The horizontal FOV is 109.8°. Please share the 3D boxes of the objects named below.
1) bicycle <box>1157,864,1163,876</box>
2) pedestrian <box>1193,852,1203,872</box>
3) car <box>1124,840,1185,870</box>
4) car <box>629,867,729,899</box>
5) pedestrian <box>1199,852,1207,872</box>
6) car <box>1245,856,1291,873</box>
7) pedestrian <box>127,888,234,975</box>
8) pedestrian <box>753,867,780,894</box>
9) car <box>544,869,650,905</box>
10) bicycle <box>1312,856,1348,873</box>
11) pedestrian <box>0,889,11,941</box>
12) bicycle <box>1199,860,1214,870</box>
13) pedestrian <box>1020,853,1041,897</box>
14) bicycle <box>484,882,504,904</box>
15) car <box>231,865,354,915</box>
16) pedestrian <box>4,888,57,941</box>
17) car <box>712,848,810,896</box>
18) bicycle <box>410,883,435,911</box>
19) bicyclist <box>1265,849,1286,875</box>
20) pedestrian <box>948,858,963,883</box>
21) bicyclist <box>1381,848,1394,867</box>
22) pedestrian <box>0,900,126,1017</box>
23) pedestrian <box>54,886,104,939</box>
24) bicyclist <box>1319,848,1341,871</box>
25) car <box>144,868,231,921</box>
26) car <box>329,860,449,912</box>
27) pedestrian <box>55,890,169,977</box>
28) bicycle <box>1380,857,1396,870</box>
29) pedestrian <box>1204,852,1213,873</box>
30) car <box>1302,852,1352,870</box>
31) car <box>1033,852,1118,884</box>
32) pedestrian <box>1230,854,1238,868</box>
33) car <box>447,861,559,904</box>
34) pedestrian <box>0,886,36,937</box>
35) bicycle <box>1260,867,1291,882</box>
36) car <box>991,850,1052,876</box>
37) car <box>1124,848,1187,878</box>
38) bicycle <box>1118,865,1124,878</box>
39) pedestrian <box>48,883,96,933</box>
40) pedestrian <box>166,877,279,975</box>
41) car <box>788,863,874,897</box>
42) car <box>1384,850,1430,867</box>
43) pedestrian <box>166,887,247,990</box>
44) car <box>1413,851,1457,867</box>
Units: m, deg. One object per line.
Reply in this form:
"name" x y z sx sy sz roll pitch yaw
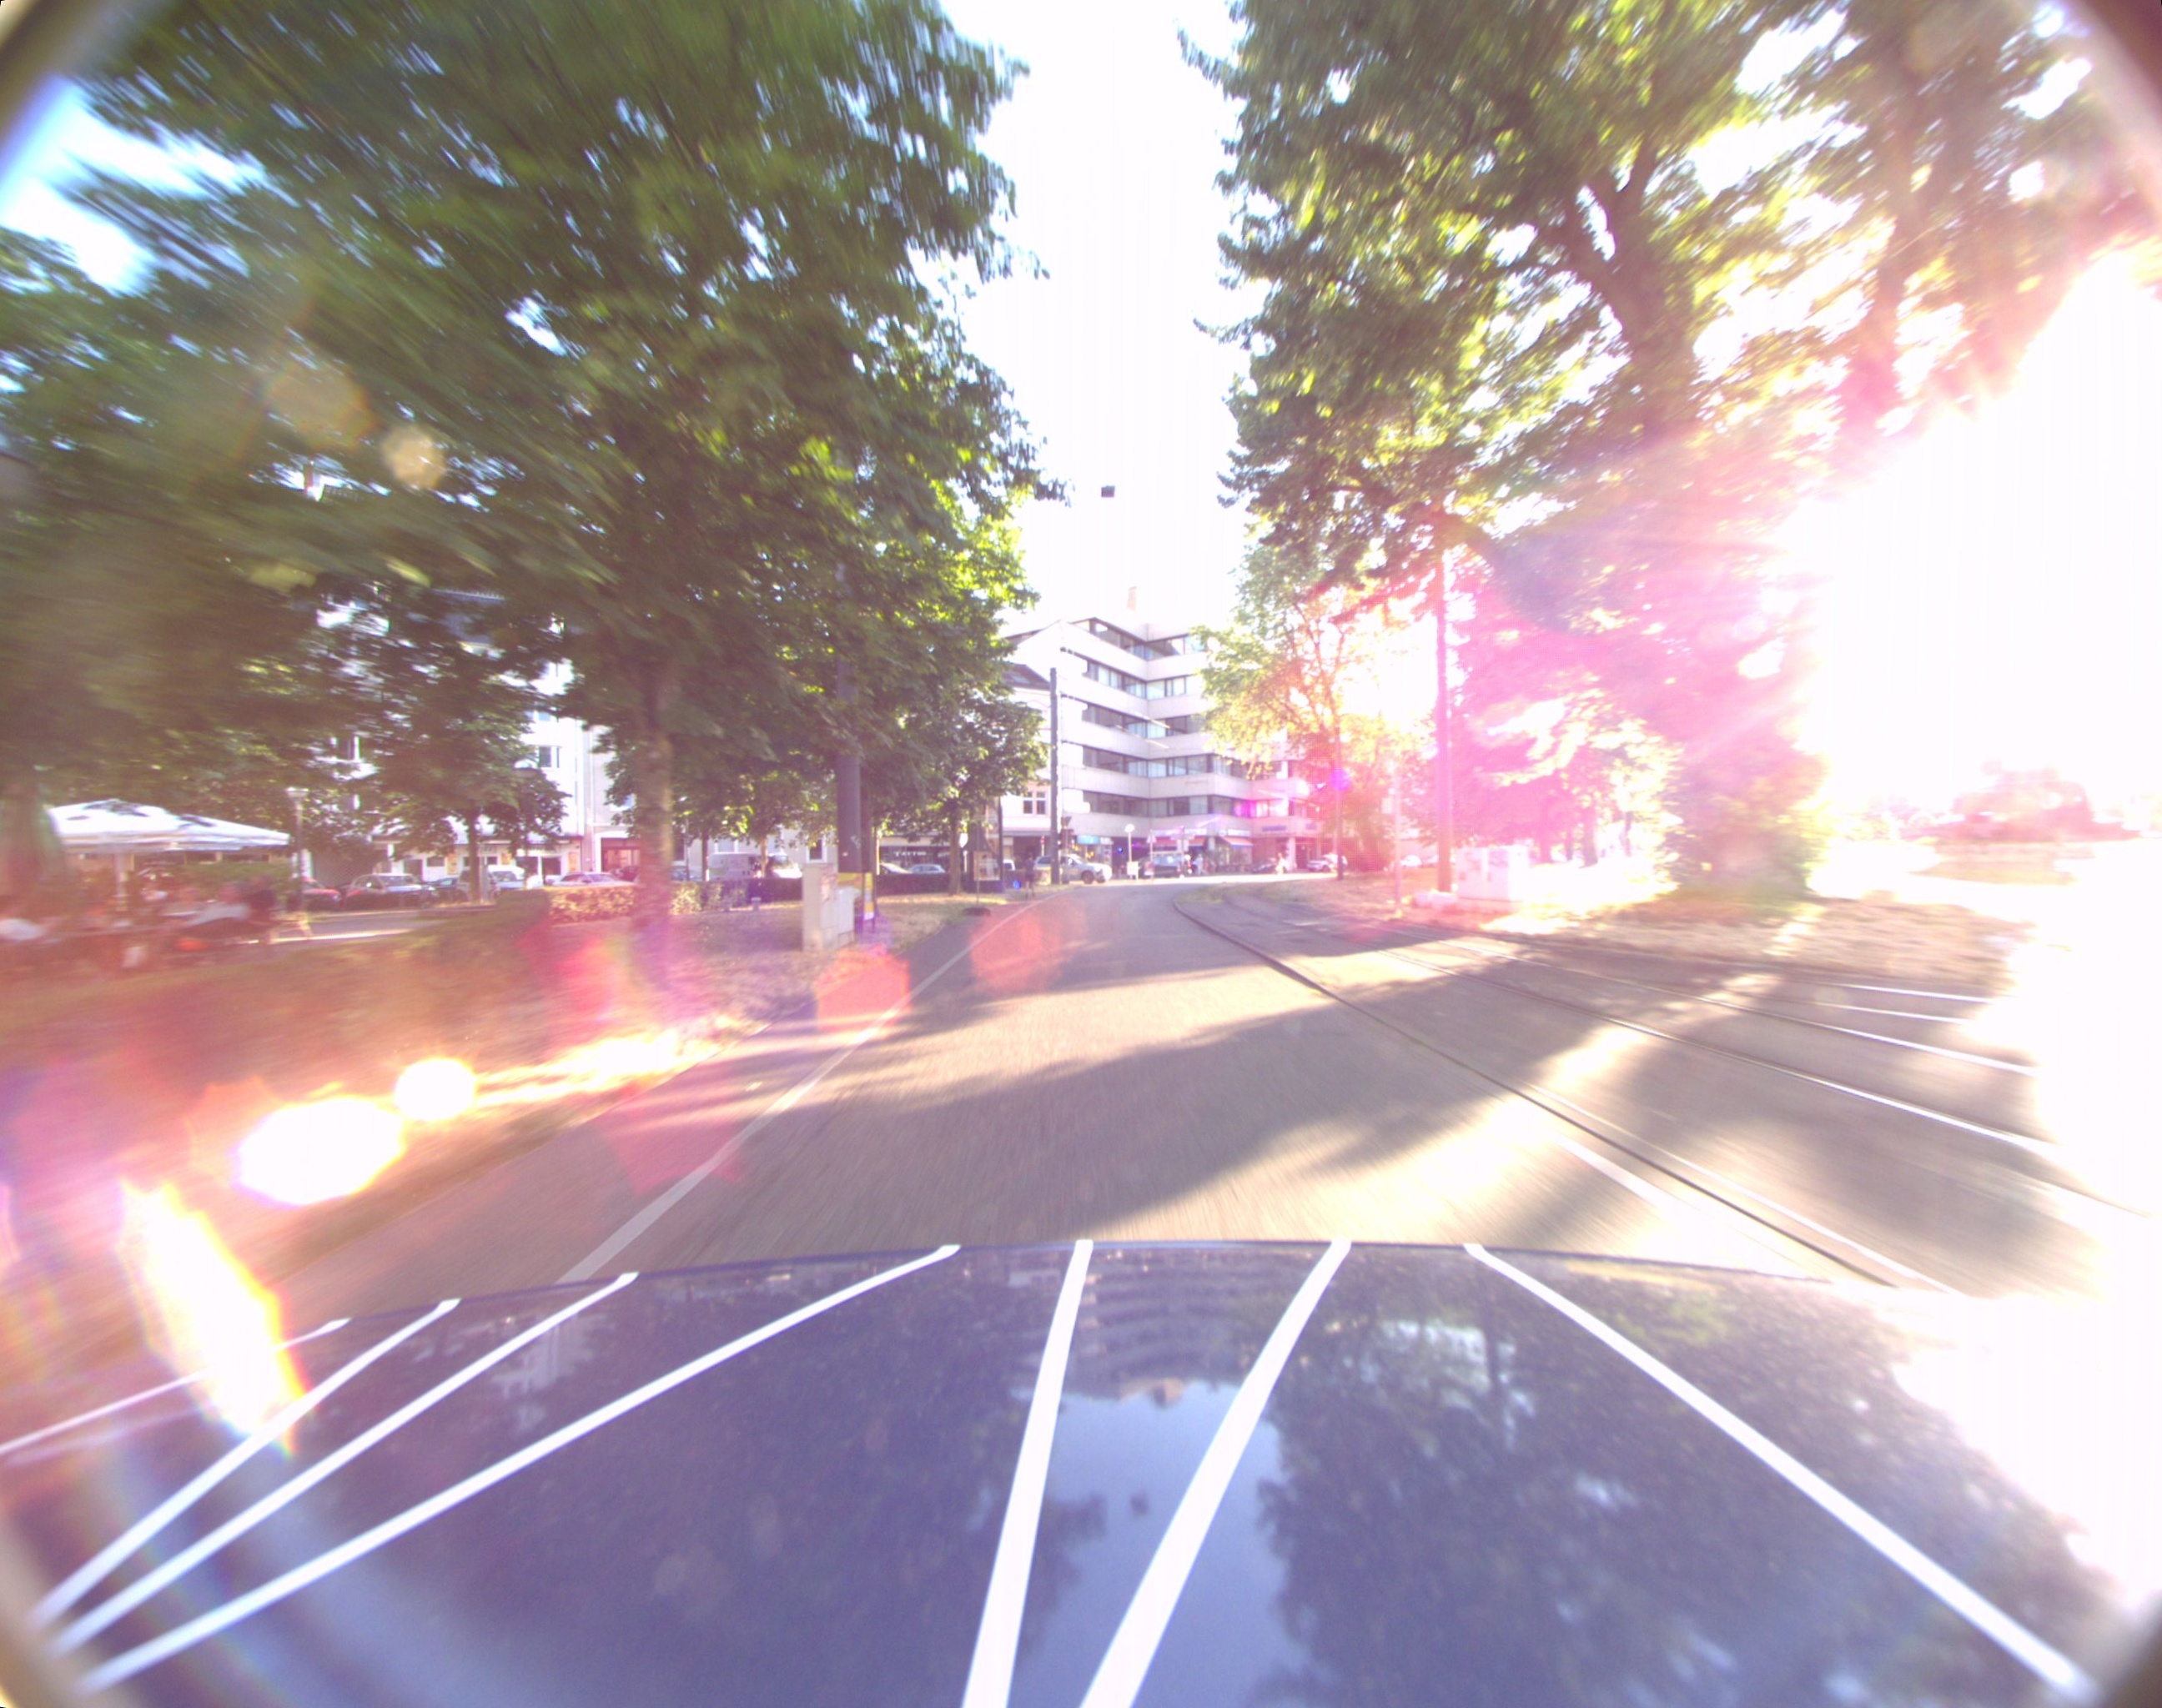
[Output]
"bicycle" 6.742 1.329 64.816 0.302 0.987 1.294 -2 0 -4
"pedestrian" 10.711 0.724 69.742 0.537 1.828 0.619 1 3 -24
"car" 6.984 0.063 72.553 5.419 2.711 2.186 0 1 33
"car" -19.456 1.391 36.818 3.992 1.390 2.003 -2 0 18
"pedestrian" 11.130 0.717 69.145 0.603 1.828 0.574 3 3 4
"car" 17.396 0.959 70.626 4.006 1.433 1.791 -2 0 -29
"pedestrian" -14.101 1.208 11.929 0.953 1.235 0.662 -4 -2 -42
"pedestrian" -14.493 1.213 35.002 0.962 1.218 1.368 -2 0 -28
"car" -22.143 1.490 34.805 3.992 1.477 2.003 -2 0 18
"bicycle" 21.986 0.901 66.971 3.246 1.353 1.269 -2 0 -34
"pedestrian" -23.482 1.326 16.258 0.494 1.111 0.556 -2 1 -35
"bicycle" 11.840 1.042 71.736 1.444 0.987 0.531 0 2 8
"pedestrian" -1.985 0.824 29.941 0.587 1.733 0.644 -1 0 24
"bicycle" -22.511 1.484 29.156 0.447 0.775 1.272 -2 1 -32
"car" -30.593 1.393 29.496 3.991 1.763 1.916 -2 0 22
"pedestrian" -22.933 1.312 16.594 0.494 1.111 0.556 -2 1 -35
"car" -16.299 0.926 38.649 4.868 2.227 2.098 -2 0 32
"bicycle" -24.747 1.599 28.554 0.325 0.990 1.471 -1 1 -26
"bicyclist" 14.934 0.594 58.335 1.115 1.962 0.923 -2 0 -28
"pedestrian" -9.082 1.200 55.051 0.796 1.789 0.637 -2 0 -31
"bicyclist" 28.797 0.343 71.351 0.859 1.772 0.988 0 1 38
"pedestrian" -12.071 1.189 8.903 0.778 1.235 0.990 -2 0 32
"pedestrian" -22.310 1.297 16.924 0.494 1.111 0.556 -2 1 -35
"bicyclist" 21.932 0.459 66.894 1.369 1.980 1.233 -2 1 -34
"car" -32.621 1.444 27.721 3.989 1.763 1.916 -2 0 39
"car" -28.763 1.308 31.615 3.991 2.002 2.003 -2 0 20
"pedestrian" -15.210 1.219 11.960 0.953 1.236 0.661 -4 2 -42
"bicycle" 28.857 0.883 71.408 0.871 1.090 1.854 -2 0 38
"pedestrian" 11.536 0.774 68.517 0.500 1.828 0.532 1 3 -26
"car" 24.331 0.667 75.157 4.529 1.596 1.996 -2 0 -28
"car" -0.342 0.825 45.655 4.698 1.761 2.004 -2 0 27
"pedestrian" 15.318 0.709 76.196 0.610 1.313 0.592 -1 1 27
"car" -25.337 1.248 33.332 3.991 1.696 2.003 -2 0 20
"pedestrian" -24.357 1.301 17.282 0.494 1.111 0.556 -2 1 -35
"bicycle" 14.899 1.533 58.297 2.224 1.070 0.934 -2 0 -28
"car" -4.517 0.652 57.795 4.236 1.774 1.927 -2 2 -31
"car" 5.923 0.697 60.016 4.529 2.143 1.996 -2 0 -28
"bicycle" 3.261 1.421 62.475 0.302 0.987 1.294 -2 0 -4
"pedestrian" -23.705 1.255 17.854 0.494 1.111 0.556 -2 1 -35
"pedestrian" -12.995 1.056 11.548 1.017 1.348 0.730 -2 2 -42
"car" -13.185 1.368 40.076 3.990 1.595 1.956 -2 0 25
"car" 34.857 0.485 81.244 4.529 1.596 1.996 -2 0 -28
"pedestrian" -11.231 1.057 9.776 0.567 1.237 0.614 0 1 45
"car" 38.864 0.561 83.485 4.529 1.596 1.996 -2 0 -28
